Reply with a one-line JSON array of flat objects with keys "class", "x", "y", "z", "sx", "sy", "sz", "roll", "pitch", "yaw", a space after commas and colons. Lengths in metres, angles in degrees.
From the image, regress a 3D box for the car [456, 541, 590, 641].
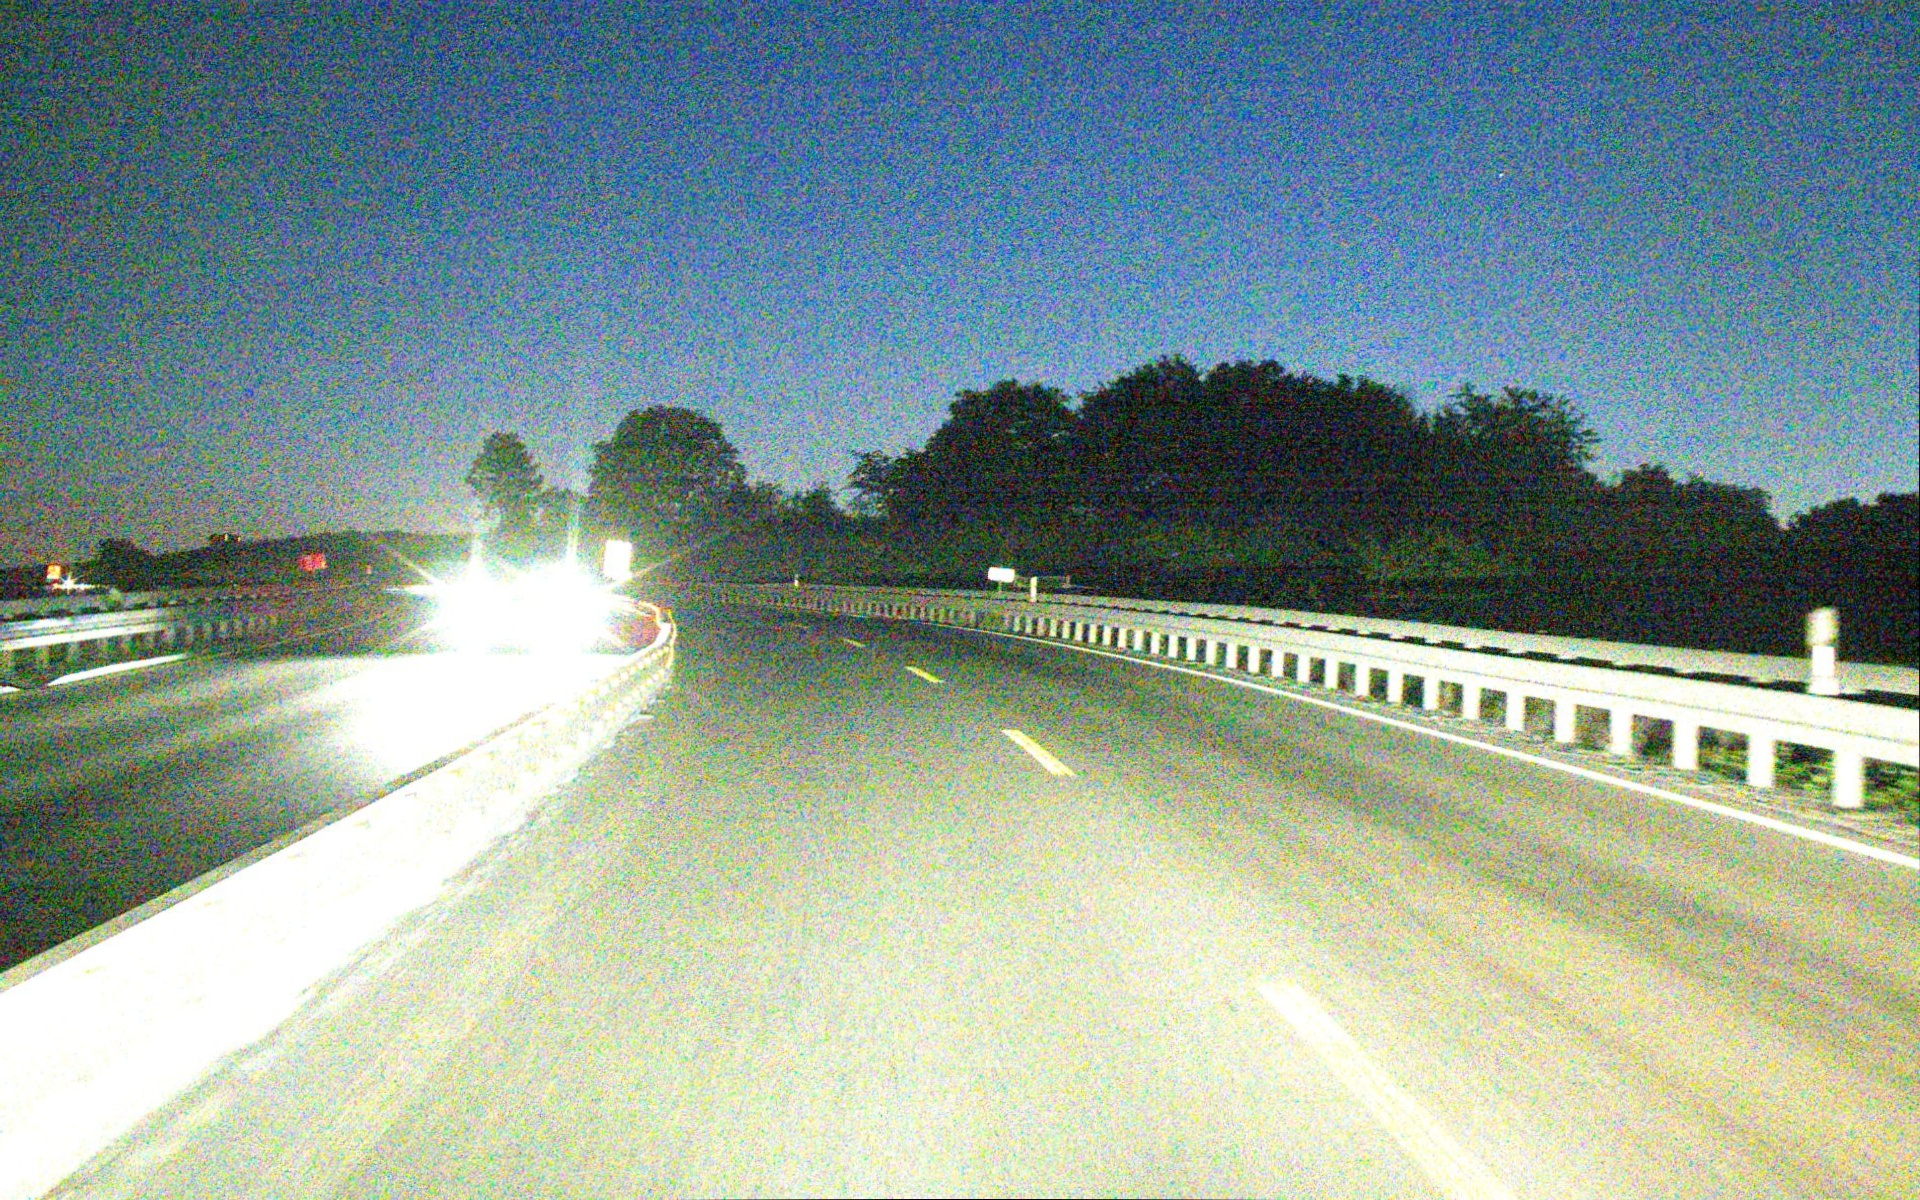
[{"class": "car", "x": -6.896, "y": -0.130, "z": 54.605, "sx": 1.818, "sy": 1.511, "sz": 4.523, "roll": -1, "pitch": 0, "yaw": -4}]
